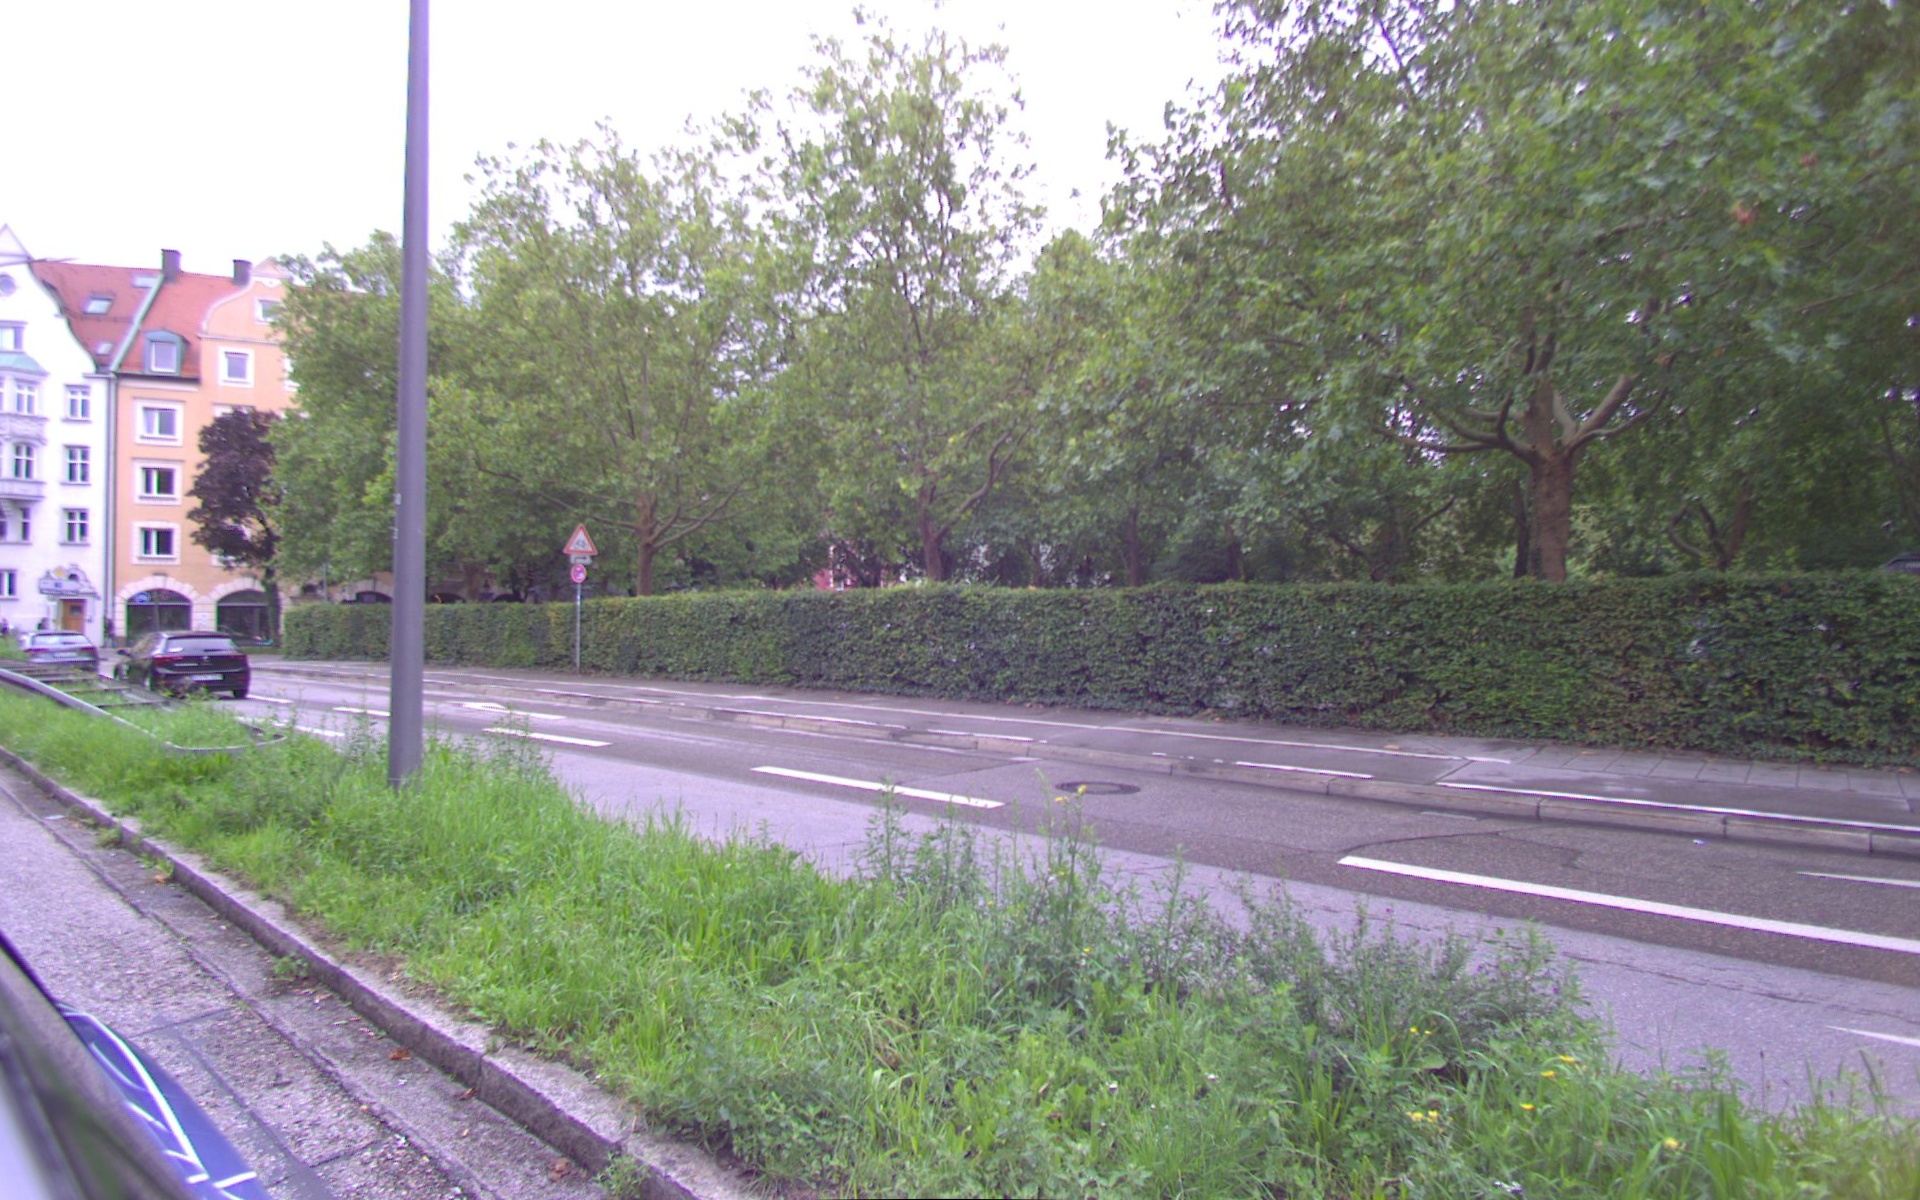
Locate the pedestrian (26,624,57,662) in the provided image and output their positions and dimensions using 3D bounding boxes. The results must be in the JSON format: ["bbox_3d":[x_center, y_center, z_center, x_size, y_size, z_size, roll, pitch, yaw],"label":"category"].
[{"bbox_3d":[-50.909,2.374,56.113,0.991,2.029,0.881,-1,0,-18],"label":"pedestrian"}]

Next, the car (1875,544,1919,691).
[{"bbox_3d":[18.955,0.269,19.341,2.000,2.554,5.779,-1,0,44],"label":"car"}]

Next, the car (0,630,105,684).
[{"bbox_3d":[-25.354,1.550,28.225,3.998,1.395,1.735,-2,-2,41],"label":"car"}]

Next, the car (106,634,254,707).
[{"bbox_3d":[-16.504,1.421,21.351,3.998,1.395,1.735,-2,-2,41],"label":"car"}]

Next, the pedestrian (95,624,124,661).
[{"bbox_3d":[-48.564,2.417,57.779,0.991,2.029,0.881,-1,0,-18],"label":"pedestrian"}]
